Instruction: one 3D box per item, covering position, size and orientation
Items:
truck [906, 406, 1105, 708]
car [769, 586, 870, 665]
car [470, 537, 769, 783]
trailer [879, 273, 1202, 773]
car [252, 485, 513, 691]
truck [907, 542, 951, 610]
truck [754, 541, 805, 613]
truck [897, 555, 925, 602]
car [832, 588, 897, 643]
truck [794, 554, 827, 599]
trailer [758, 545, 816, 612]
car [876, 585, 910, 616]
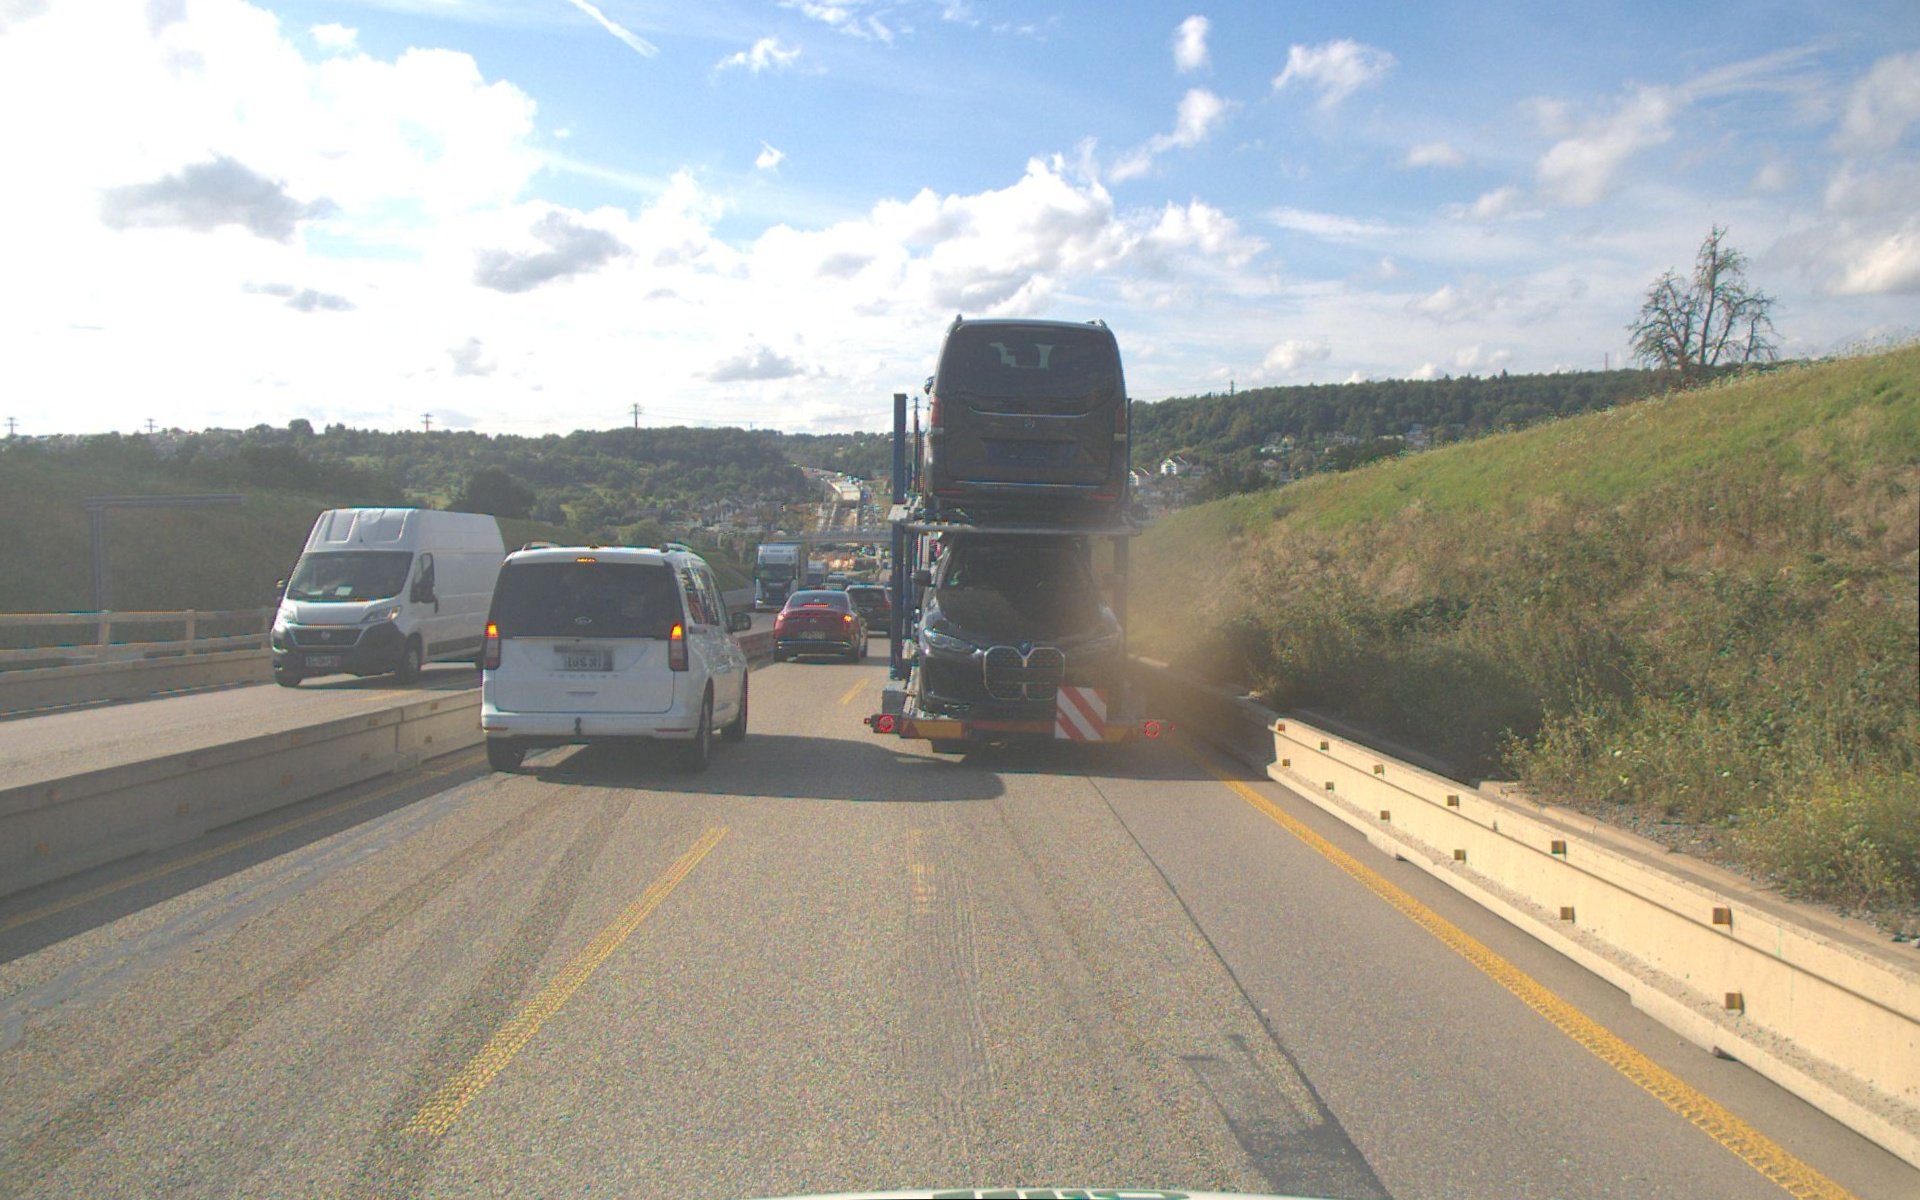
[{"bbox_3d":[0.555,-0.595,24.897,2.623,3.990,6.026,0,0,-1],"label":"truck"},{"bbox_3d":[-2.945,0.486,35.590,1.786,1.518,4.684,1,1,-1],"label":"car"},{"bbox_3d":[-2.878,0.432,14.976,1.786,1.855,4.456,1,1,-1],"label":"car"},{"bbox_3d":[0.607,-0.670,19.282,2.653,4.099,11.418,0,0,-1],"label":"trailer"},{"bbox_3d":[-9.193,-0.180,27.029,2.067,2.885,6.137,-3,0,-1],"label":"car"},{"bbox_3d":[-2.314,-1.672,118.521,2.806,4.650,11.651,0,0,-3],"label":"truck"},{"bbox_3d":[-10.917,-1.366,100.267,2.561,4.226,5.780,0,0,-1],"label":"truck"},{"bbox_3d":[-4.942,-2.125,167.866,2.806,4.650,11.655,0,0,-1],"label":"truck"},{"bbox_3d":[-3.050,0.468,53.437,1.953,1.653,4.748,1,1,-2],"label":"car"},{"bbox_3d":[-14.411,-2.263,159.968,2.585,4.171,10.813,0,0,-2],"label":"truck"},{"bbox_3d":[-11.048,-1.353,106.914,2.561,4.023,13.871,0,0,-1],"label":"trailer"},{"bbox_3d":[-3.603,0.009,90.037,1.760,1.624,4.741,0,0,-1],"label":"car"}]
